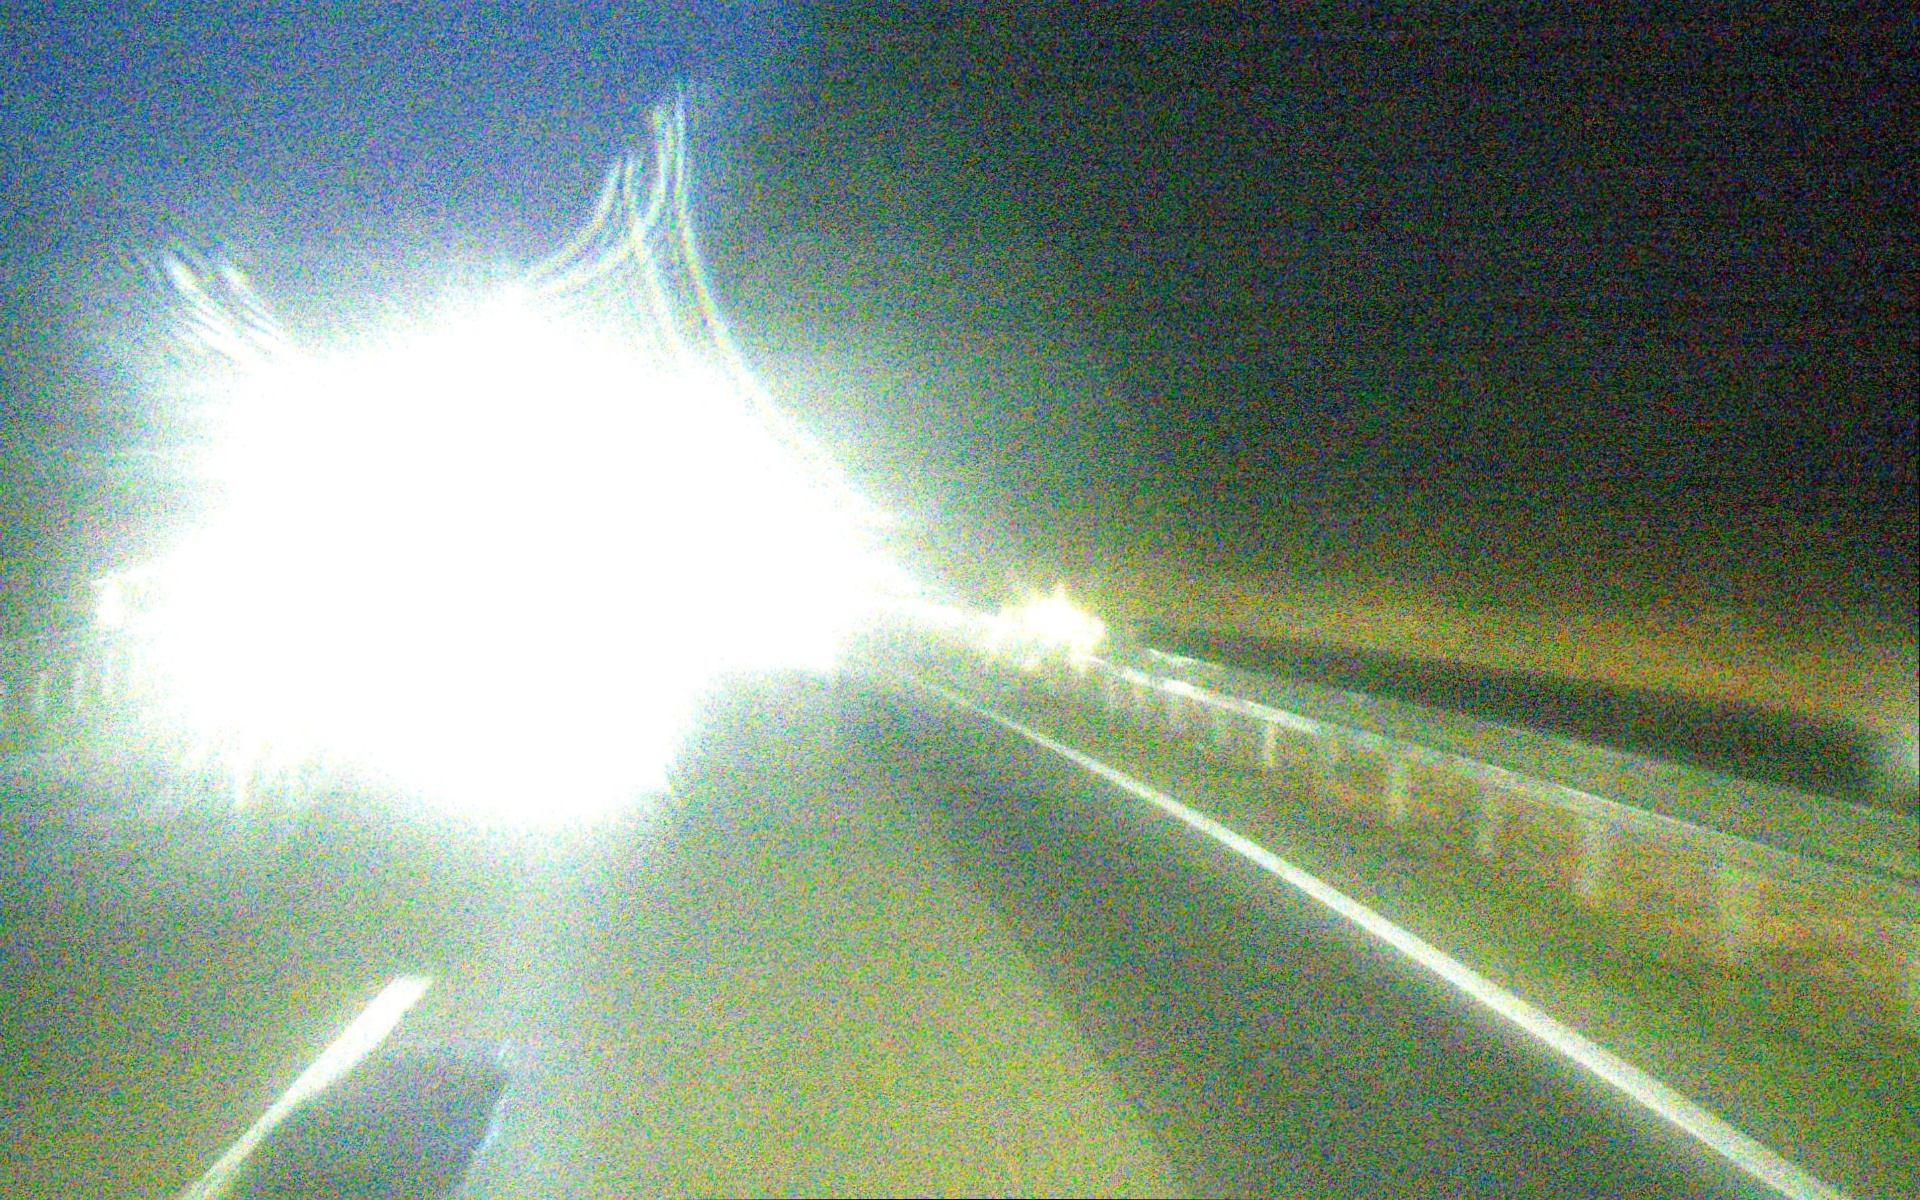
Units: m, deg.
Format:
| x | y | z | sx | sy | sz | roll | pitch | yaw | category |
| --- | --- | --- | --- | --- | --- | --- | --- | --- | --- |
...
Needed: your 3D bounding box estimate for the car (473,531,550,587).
| x | y | z | sx | sy | sz | roll | pitch | yaw | category |
| --- | --- | --- | --- | --- | --- | --- | --- | --- | --- |
| -12.405 | -1.151 | 95.289 | 1.993 | 1.467 | 3.837 | 2 | 1 | -6 | car |
